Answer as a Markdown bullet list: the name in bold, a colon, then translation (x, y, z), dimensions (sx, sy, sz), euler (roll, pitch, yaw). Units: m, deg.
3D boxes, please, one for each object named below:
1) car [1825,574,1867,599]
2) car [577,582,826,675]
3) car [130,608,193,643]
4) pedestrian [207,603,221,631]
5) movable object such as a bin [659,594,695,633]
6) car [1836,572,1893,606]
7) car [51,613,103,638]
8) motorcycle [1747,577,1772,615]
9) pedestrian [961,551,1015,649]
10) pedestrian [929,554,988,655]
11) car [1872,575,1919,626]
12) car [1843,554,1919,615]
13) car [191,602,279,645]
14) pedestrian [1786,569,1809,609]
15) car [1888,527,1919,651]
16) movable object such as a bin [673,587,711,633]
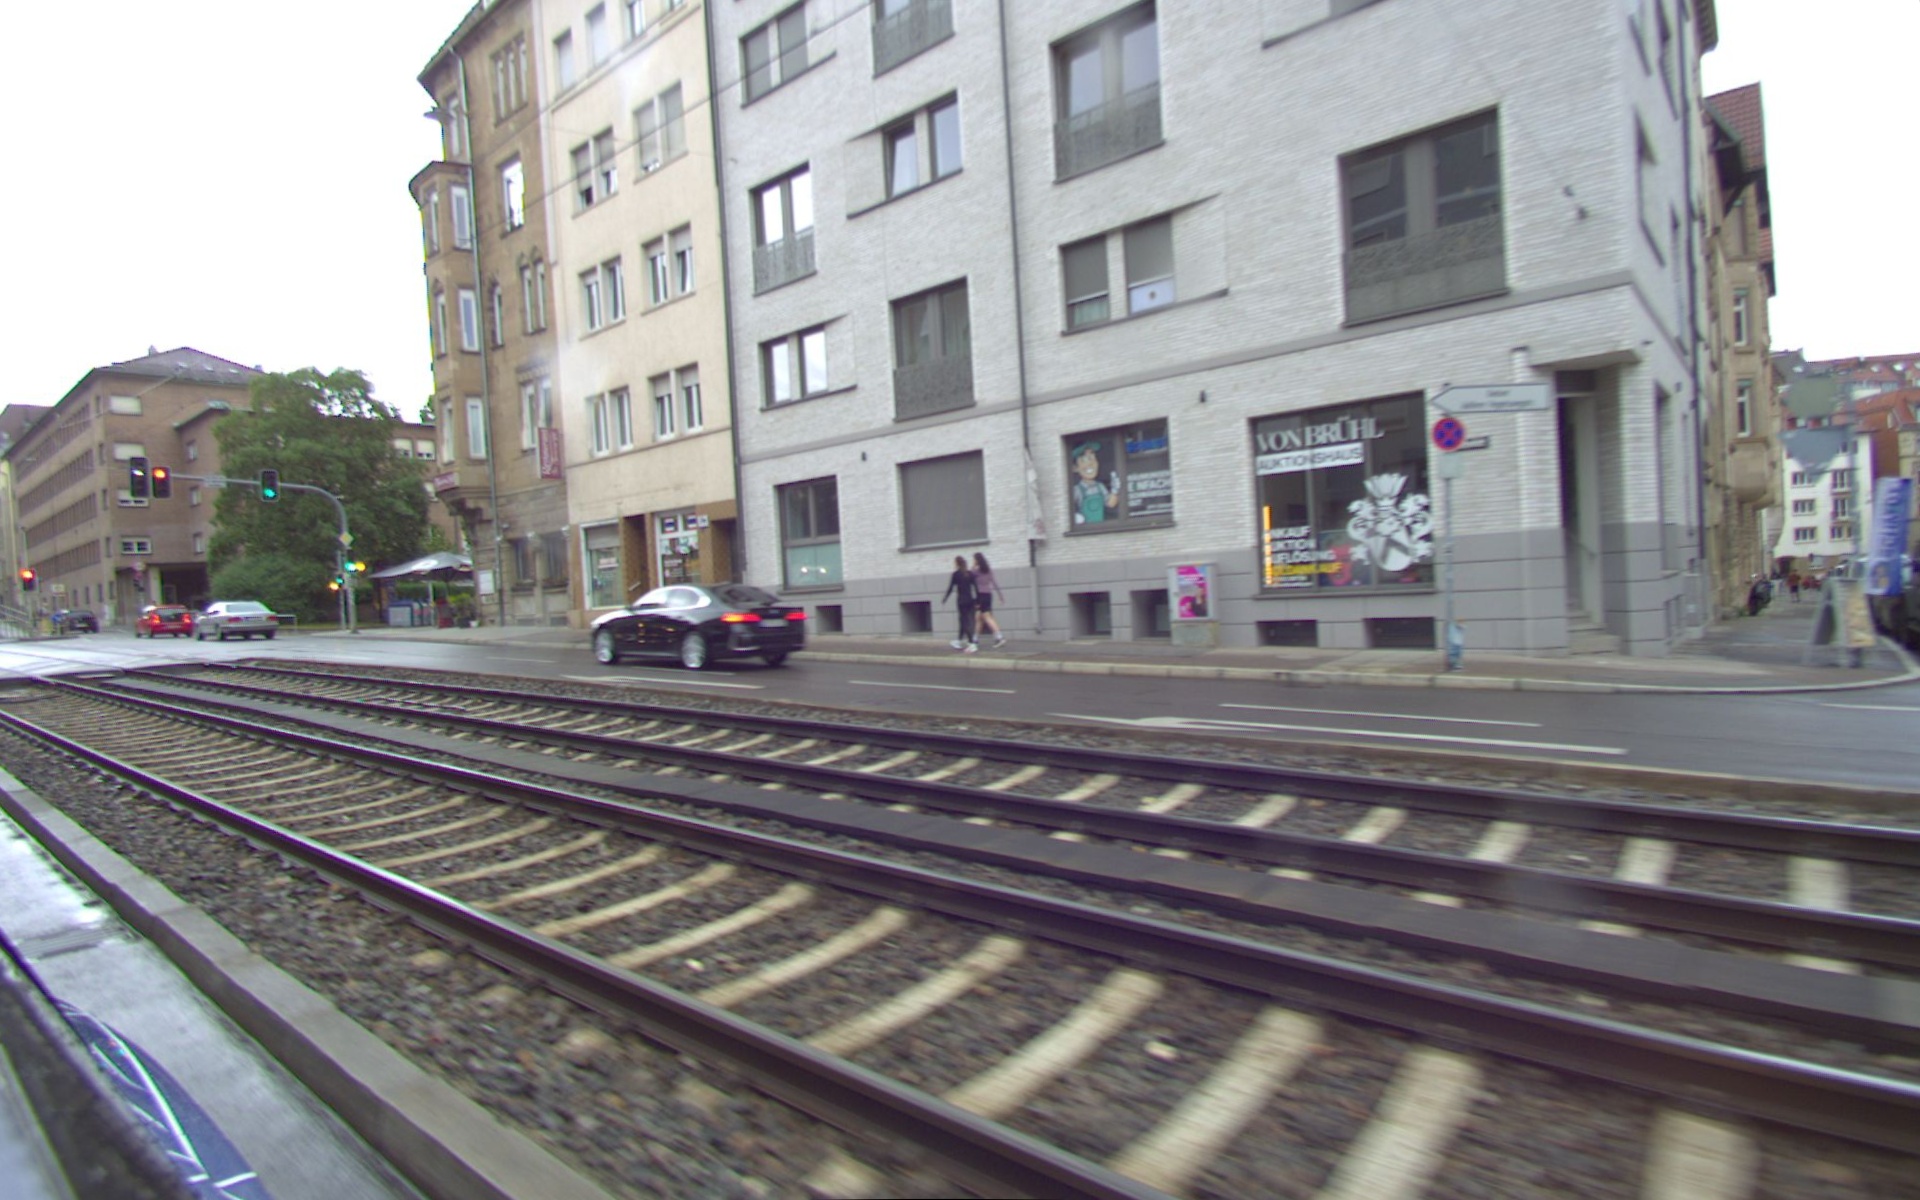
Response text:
- **car**: translation (52.778, -0.772, 60.352), dimensions (1.704, 1.401, 4.402), euler (-1, 0, 40)
- **car**: translation (-4.821, 0.469, 18.467), dimensions (4.859, 1.468, 2.066), euler (-1, 0, 42)
- **car**: translation (-36.531, 1.144, 46.292), dimensions (3.385, 1.461, 1.610), euler (-1, 1, 41)
- **pedestrian**: translation (-47.585, 1.088, 64.528), dimensions (0.464, 1.760, 0.616), euler (-1, -2, 37)
- **movable object such as a bin**: translation (-7.304, 0.346, 26.120), dimensions (0.563, 0.934, 0.623), euler (-1, 5, 40)
- **car**: translation (40.326, -0.470, 45.197), dimensions (1.704, 1.401, 4.402), euler (-1, 0, 40)
- **car**: translation (-52.094, 1.474, 59.668), dimensions (3.942, 1.346, 1.759), euler (-1, 1, 41)
- **motorcycle**: translation (27.266, -0.147, 34.500), dimensions (0.598, 1.241, 2.005), euler (-1, 0, 39)
- **pedestrian**: translation (0.509, -0.007, 18.485), dimensions (0.658, 1.730, 0.595), euler (-1, 4, 43)
- **pedestrian**: translation (-0.025, 0.075, 18.066), dimensions (0.746, 1.730, 0.595), euler (-1, 4, 43)
- **car**: translation (24.159, 0.010, 25.667), dimensions (1.431, 1.233, 3.477), euler (-1, 0, 41)
- **car**: translation (30.821, -0.479, 33.696), dimensions (1.948, 1.884, 4.735), euler (-1, 0, 40)
- **car**: translation (-27.489, 0.877, 38.309), dimensions (4.641, 1.472, 1.695), euler (-1, 1, 41)
- **pedestrian**: translation (43.137, -0.552, 52.134), dimensions (0.901, 2.029, 0.752), euler (-1, 0, 40)
- **car**: translation (14.841, -0.192, 14.326), dimensions (2.032, 1.741, 4.648), euler (-1, 1, 37)
- **movable object such as a bin**: translation (-6.774, 0.260, 25.547), dimensions (0.563, 1.088, 0.623), euler (-1, 5, 40)
